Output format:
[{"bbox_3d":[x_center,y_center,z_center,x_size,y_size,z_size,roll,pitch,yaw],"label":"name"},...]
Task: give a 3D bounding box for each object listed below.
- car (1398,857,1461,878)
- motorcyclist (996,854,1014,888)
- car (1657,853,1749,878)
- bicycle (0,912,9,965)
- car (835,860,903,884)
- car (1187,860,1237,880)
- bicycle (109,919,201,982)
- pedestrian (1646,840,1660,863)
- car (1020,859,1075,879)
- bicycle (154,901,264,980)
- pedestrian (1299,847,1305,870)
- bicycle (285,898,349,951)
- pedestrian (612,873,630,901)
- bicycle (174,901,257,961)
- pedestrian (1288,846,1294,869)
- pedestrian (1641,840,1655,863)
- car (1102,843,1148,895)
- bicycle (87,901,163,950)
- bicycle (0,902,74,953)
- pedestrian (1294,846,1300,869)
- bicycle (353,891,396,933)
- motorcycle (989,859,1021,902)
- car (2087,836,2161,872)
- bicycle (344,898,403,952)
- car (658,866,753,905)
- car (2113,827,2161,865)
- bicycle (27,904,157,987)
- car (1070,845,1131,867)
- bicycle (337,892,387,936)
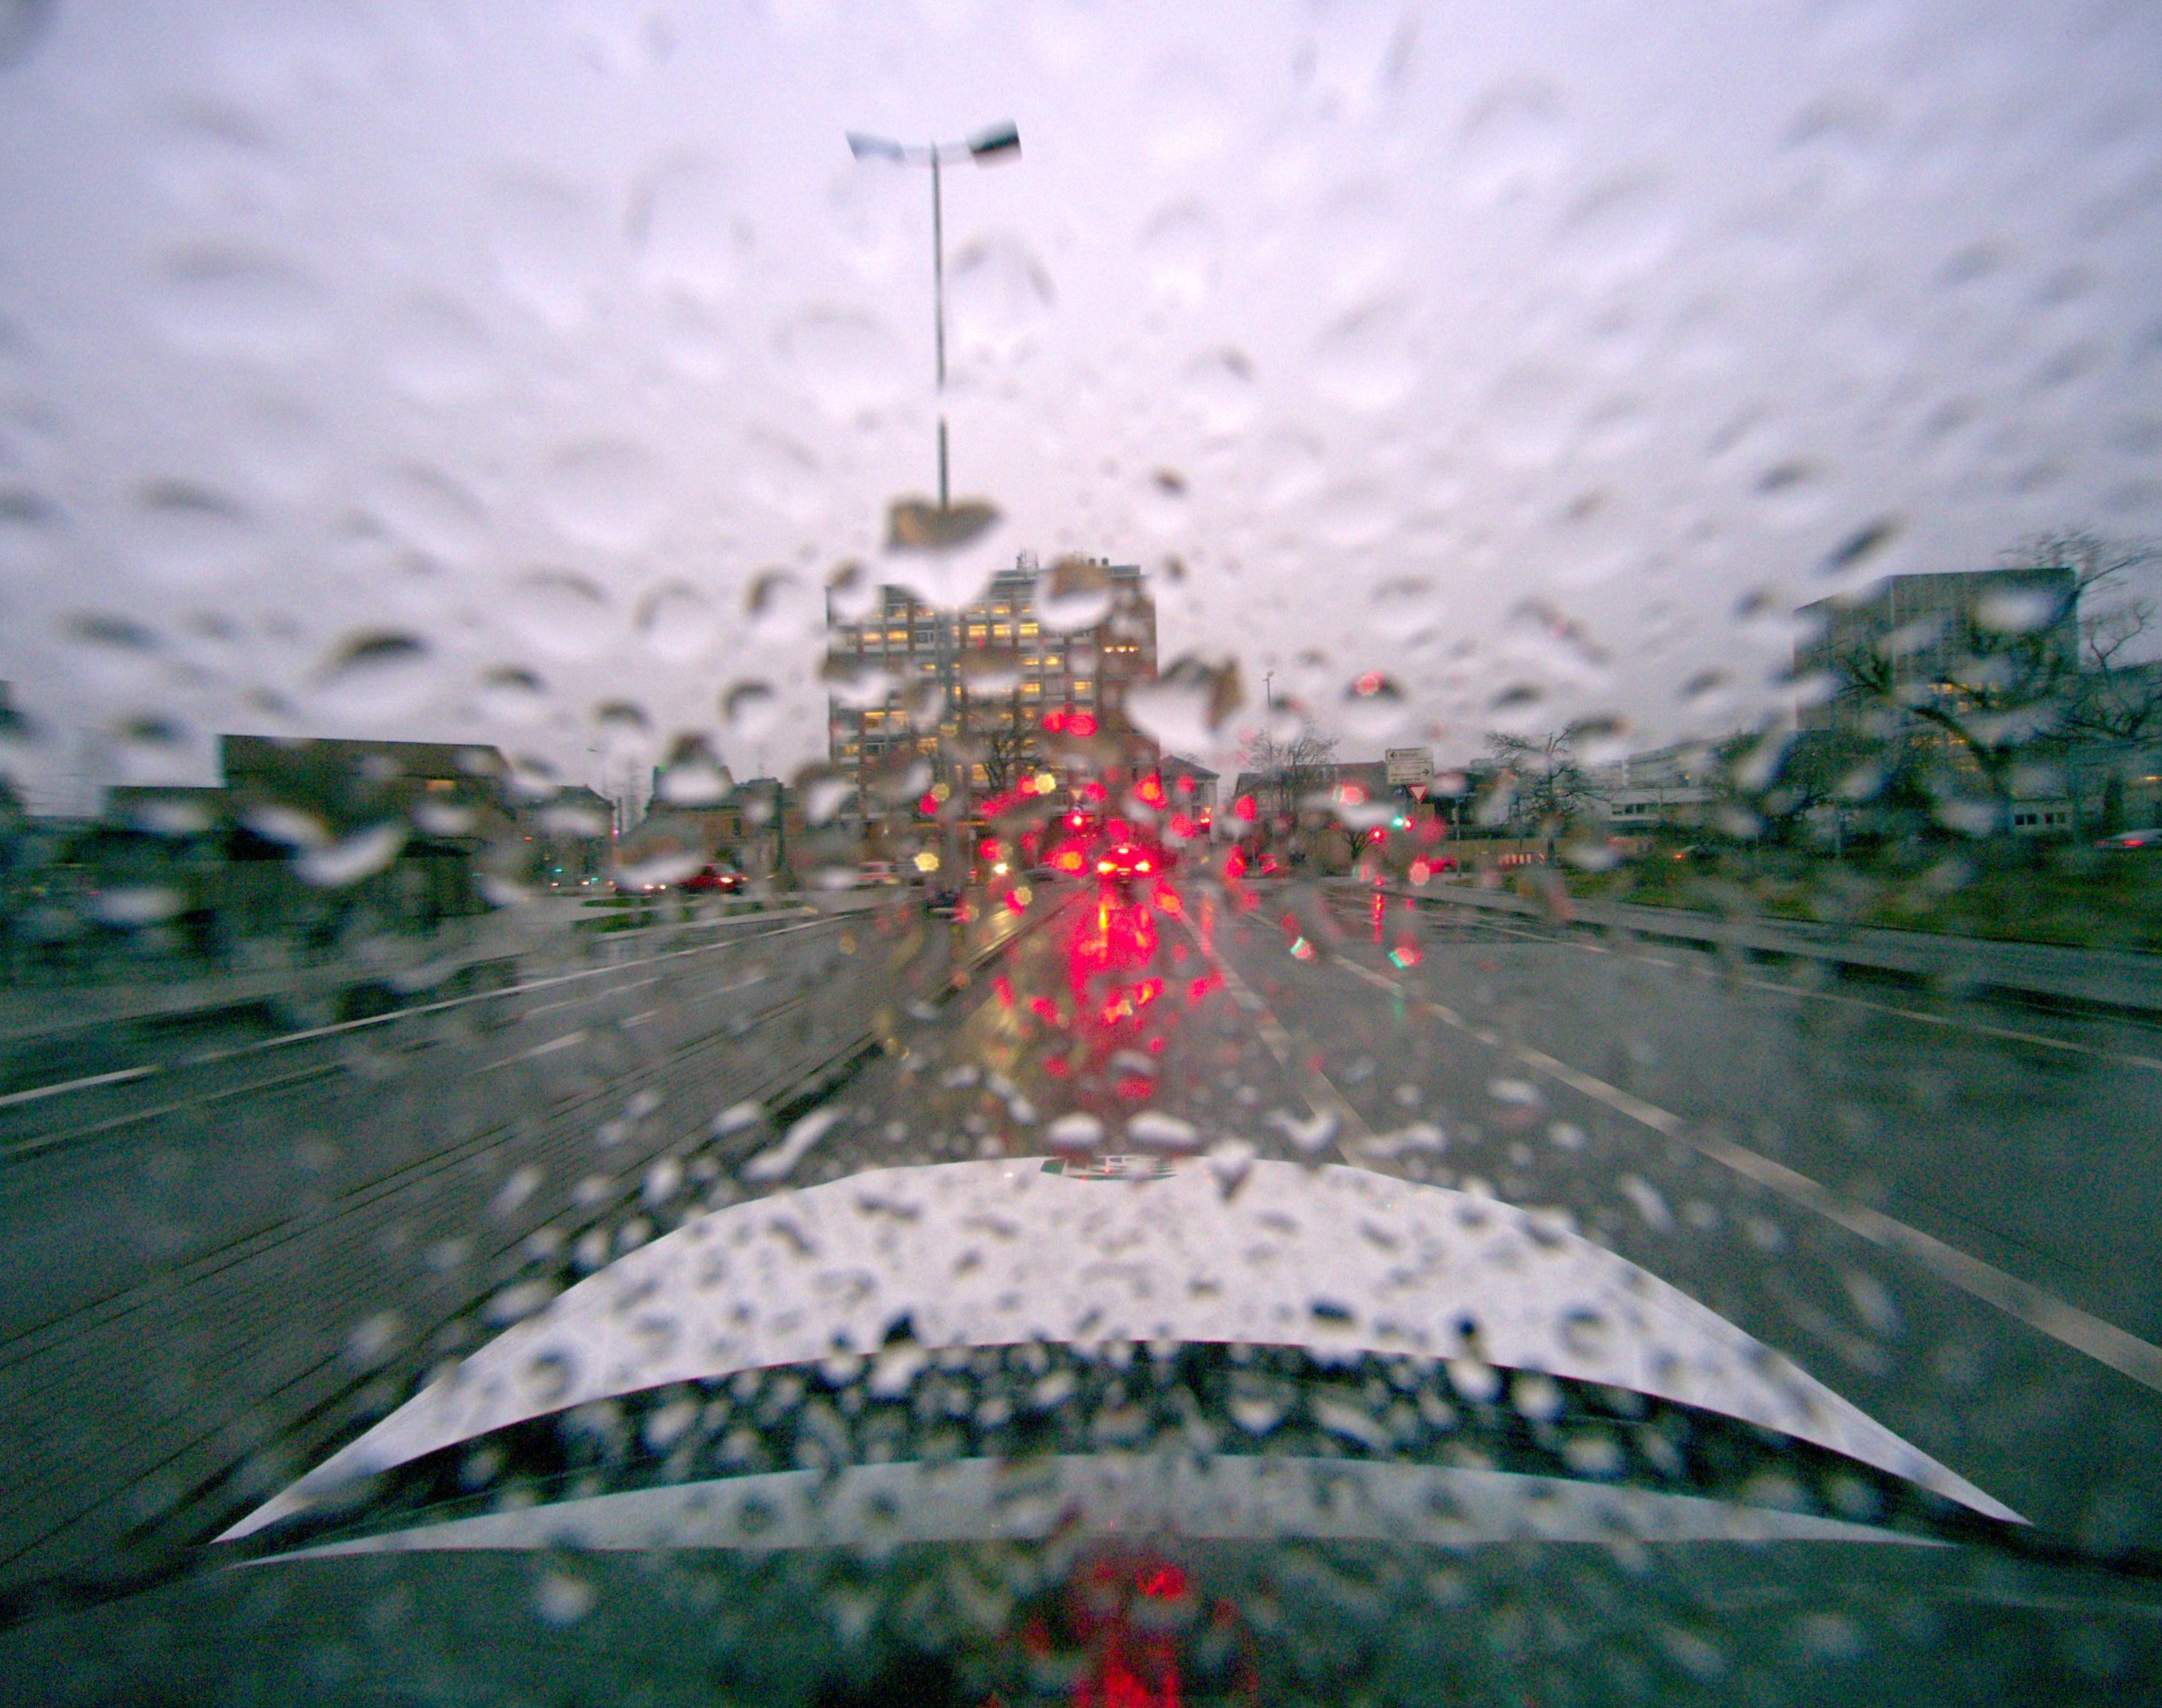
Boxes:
[{"bbox_3d":[23.715,0.920,55.581,3.761,1.398,1.571,-1,-2,16],"label":"car"},{"bbox_3d":[-2.731,0.624,29.417,0.533,1.193,0.612,0,-2,7],"label":"motorcyclist"},{"bbox_3d":[41.156,0.769,54.026,4.399,1.580,1.976,-1,-2,16],"label":"car"},{"bbox_3d":[-23.669,1.835,17.119,0.551,1.165,1.882,1,-2,-26],"label":"bicycle"},{"bbox_3d":[-17.430,1.498,66.889,5.112,1.913,2.009,-1,-1,19],"label":"car"},{"bbox_3d":[9.452,1.181,58.681,3.382,1.398,1.476,-1,-2,19],"label":"car"},{"bbox_3d":[-19.328,1.982,17.048,0.551,1.165,1.882,1,-2,-26],"label":"bicycle"},{"bbox_3d":[44.028,-0.190,62.670,0.620,1.725,0.762,0,-2,10],"label":"pedestrian"},{"bbox_3d":[-2.522,1.188,61.955,3.884,1.486,1.476,-1,-2,19],"label":"car"},{"bbox_3d":[-14.327,1.379,13.440,0.551,1.165,1.926,1,-2,-26],"label":"bicycle"},{"bbox_3d":[18.224,0.360,67.217,0.433,1.839,0.462,-1,-2,22],"label":"pedestrian"},{"bbox_3d":[-18.337,1.659,19.593,0.551,1.165,1.882,1,-2,-26],"label":"bicycle"},{"bbox_3d":[-28.072,2.012,49.652,0.456,1.697,0.801,-1,-2,27],"label":"pedestrian"},{"bbox_3d":[-18.494,1.606,17.456,0.551,1.165,1.882,1,-2,-26],"label":"bicycle"},{"bbox_3d":[17.431,0.291,67.592,0.434,1.839,0.462,-1,-2,21],"label":"pedestrian"},{"bbox_3d":[44.370,-0.205,63.708,0.620,1.725,0.762,0,-2,10],"label":"pedestrian"},{"bbox_3d":[1.676,0.514,30.721,1.640,1.819,4.004,0,0,4],"label":"car"},{"bbox_3d":[-25.159,1.857,21.477,0.551,1.165,1.882,1,-2,-26],"label":"bicycle"},{"bbox_3d":[-26.123,1.812,20.271,0.551,1.165,1.882,1,-2,-26],"label":"bicycle"},{"bbox_3d":[17.581,0.286,66.293,0.454,1.839,0.441,-1,-2,21],"label":"pedestrian"},{"bbox_3d":[-21.008,1.702,24.240,0.552,1.165,1.881,1,-2,-29],"label":"bicycle"},{"bbox_3d":[-2.749,0.929,29.600,0.826,1.497,2.315,-2,0,2],"label":"motorcycle"},{"bbox_3d":[50.974,0.021,38.744,3.613,1.651,1.893,0,-2,7],"label":"car"},{"bbox_3d":[-16.629,1.650,19.187,0.551,1.165,1.882,1,-2,-26],"label":"bicycle"},{"bbox_3d":[-22.746,1.924,49.362,4.979,2.282,2.269,-1,-2,20],"label":"car"},{"bbox_3d":[29.927,-0.257,21.730,2.648,0.977,1.310,-2,1,28],"label":"car"},{"bbox_3d":[-15.671,1.409,12.969,0.551,1.165,1.882,1,-2,-26],"label":"bicycle"},{"bbox_3d":[1.838,0.202,77.111,5.513,2.024,2.005,0,-2,9],"label":"car"},{"bbox_3d":[-20.510,1.695,23.256,0.551,1.165,1.882,1,-2,-26],"label":"bicycle"}]
